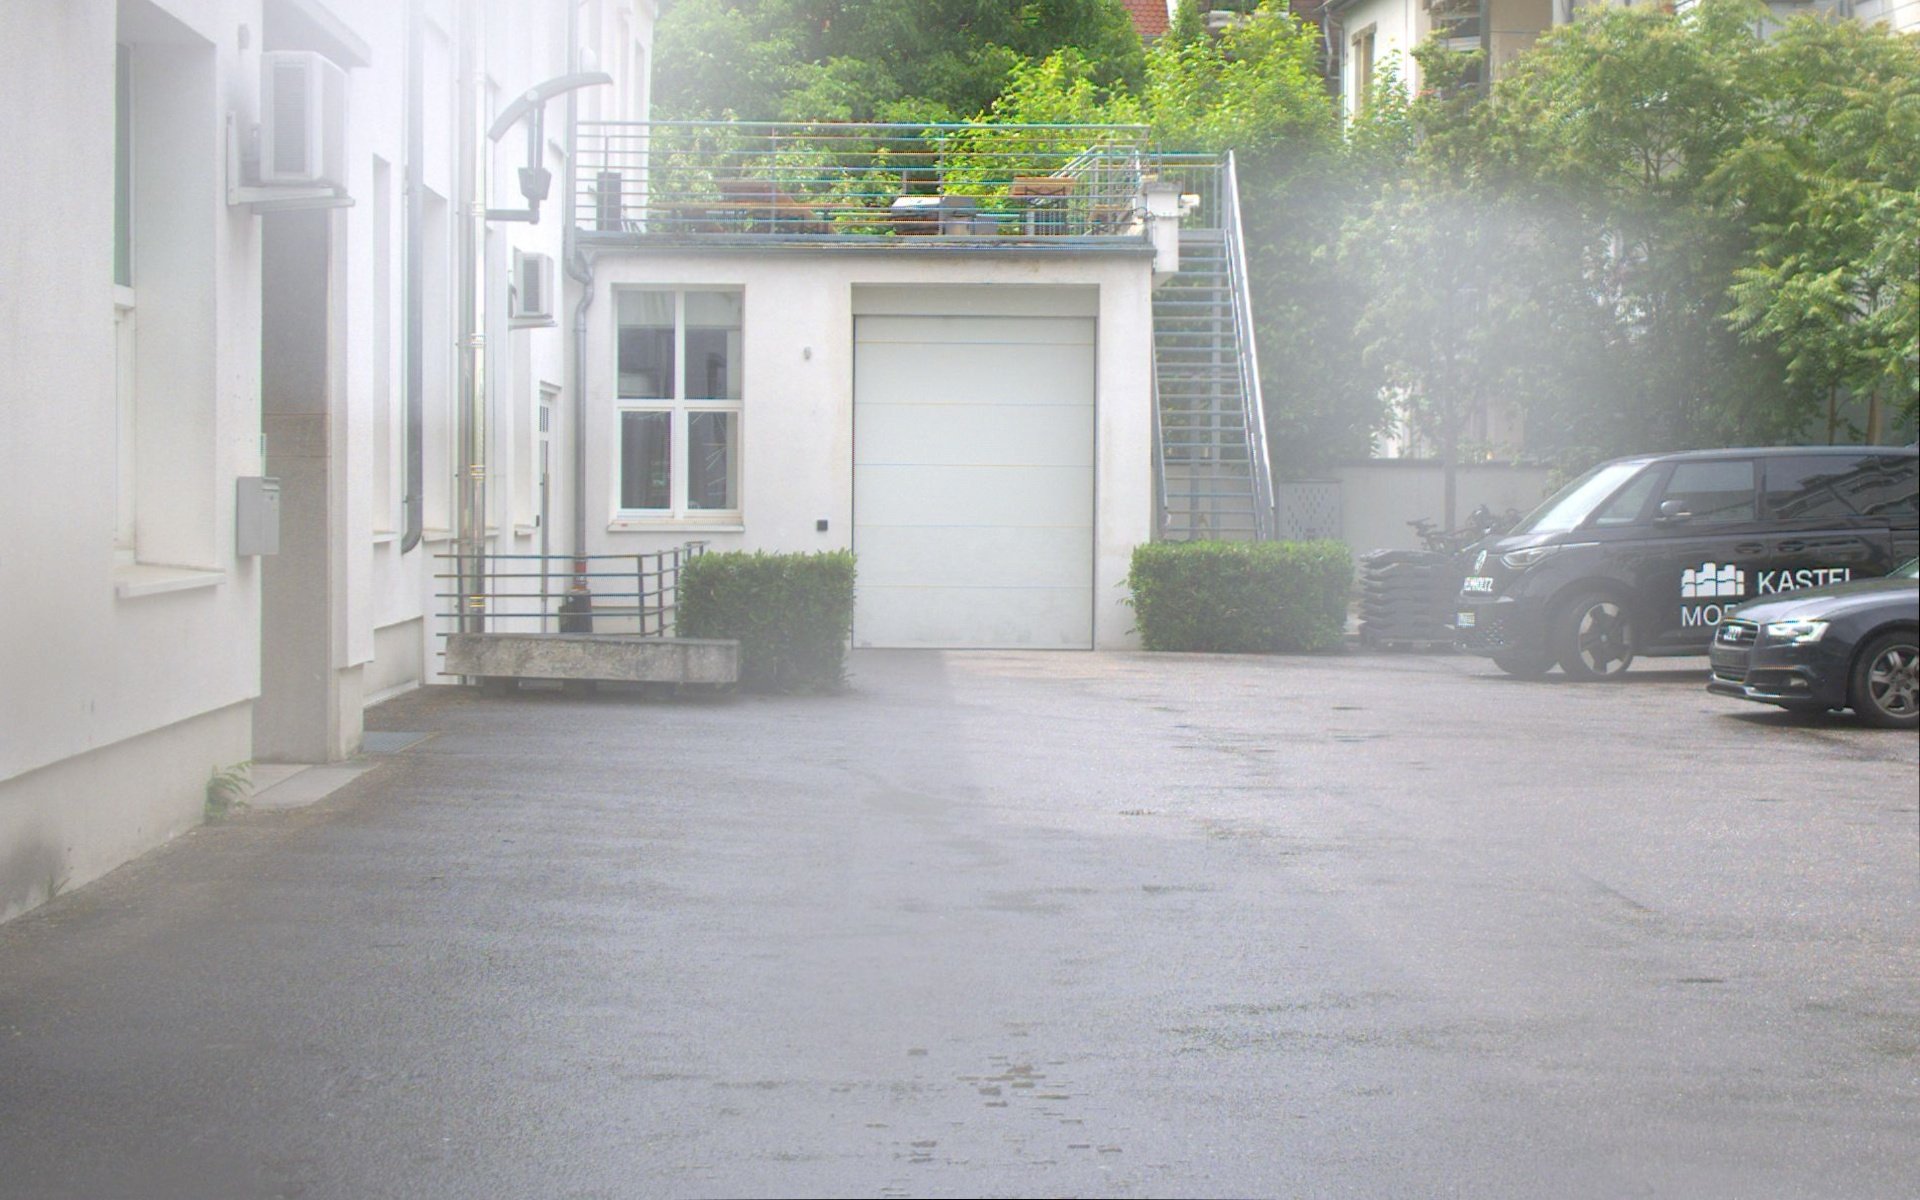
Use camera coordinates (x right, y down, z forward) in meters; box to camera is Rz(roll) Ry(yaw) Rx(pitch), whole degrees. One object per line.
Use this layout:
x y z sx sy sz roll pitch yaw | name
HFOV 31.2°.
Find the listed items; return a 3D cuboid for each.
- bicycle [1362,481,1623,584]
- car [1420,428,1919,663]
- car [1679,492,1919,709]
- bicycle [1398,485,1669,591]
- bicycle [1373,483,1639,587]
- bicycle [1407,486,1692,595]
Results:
6.109 -0.777 39.500 2.843 1.074 0.689 2 3 -4 | bicycle
6.440 -0.498 28.840 4.708 1.827 2.111 -1 2 -7 | car
7.238 -0.041 23.049 4.352 1.344 1.861 -1 3 -7 | car
6.344 -0.692 38.076 2.843 1.074 0.689 2 3 -4 | bicycle
6.153 -0.737 38.788 2.843 1.074 0.689 2 3 -4 | bicycle
6.387 -0.649 37.298 2.923 1.074 0.689 2 3 -4 | bicycle
